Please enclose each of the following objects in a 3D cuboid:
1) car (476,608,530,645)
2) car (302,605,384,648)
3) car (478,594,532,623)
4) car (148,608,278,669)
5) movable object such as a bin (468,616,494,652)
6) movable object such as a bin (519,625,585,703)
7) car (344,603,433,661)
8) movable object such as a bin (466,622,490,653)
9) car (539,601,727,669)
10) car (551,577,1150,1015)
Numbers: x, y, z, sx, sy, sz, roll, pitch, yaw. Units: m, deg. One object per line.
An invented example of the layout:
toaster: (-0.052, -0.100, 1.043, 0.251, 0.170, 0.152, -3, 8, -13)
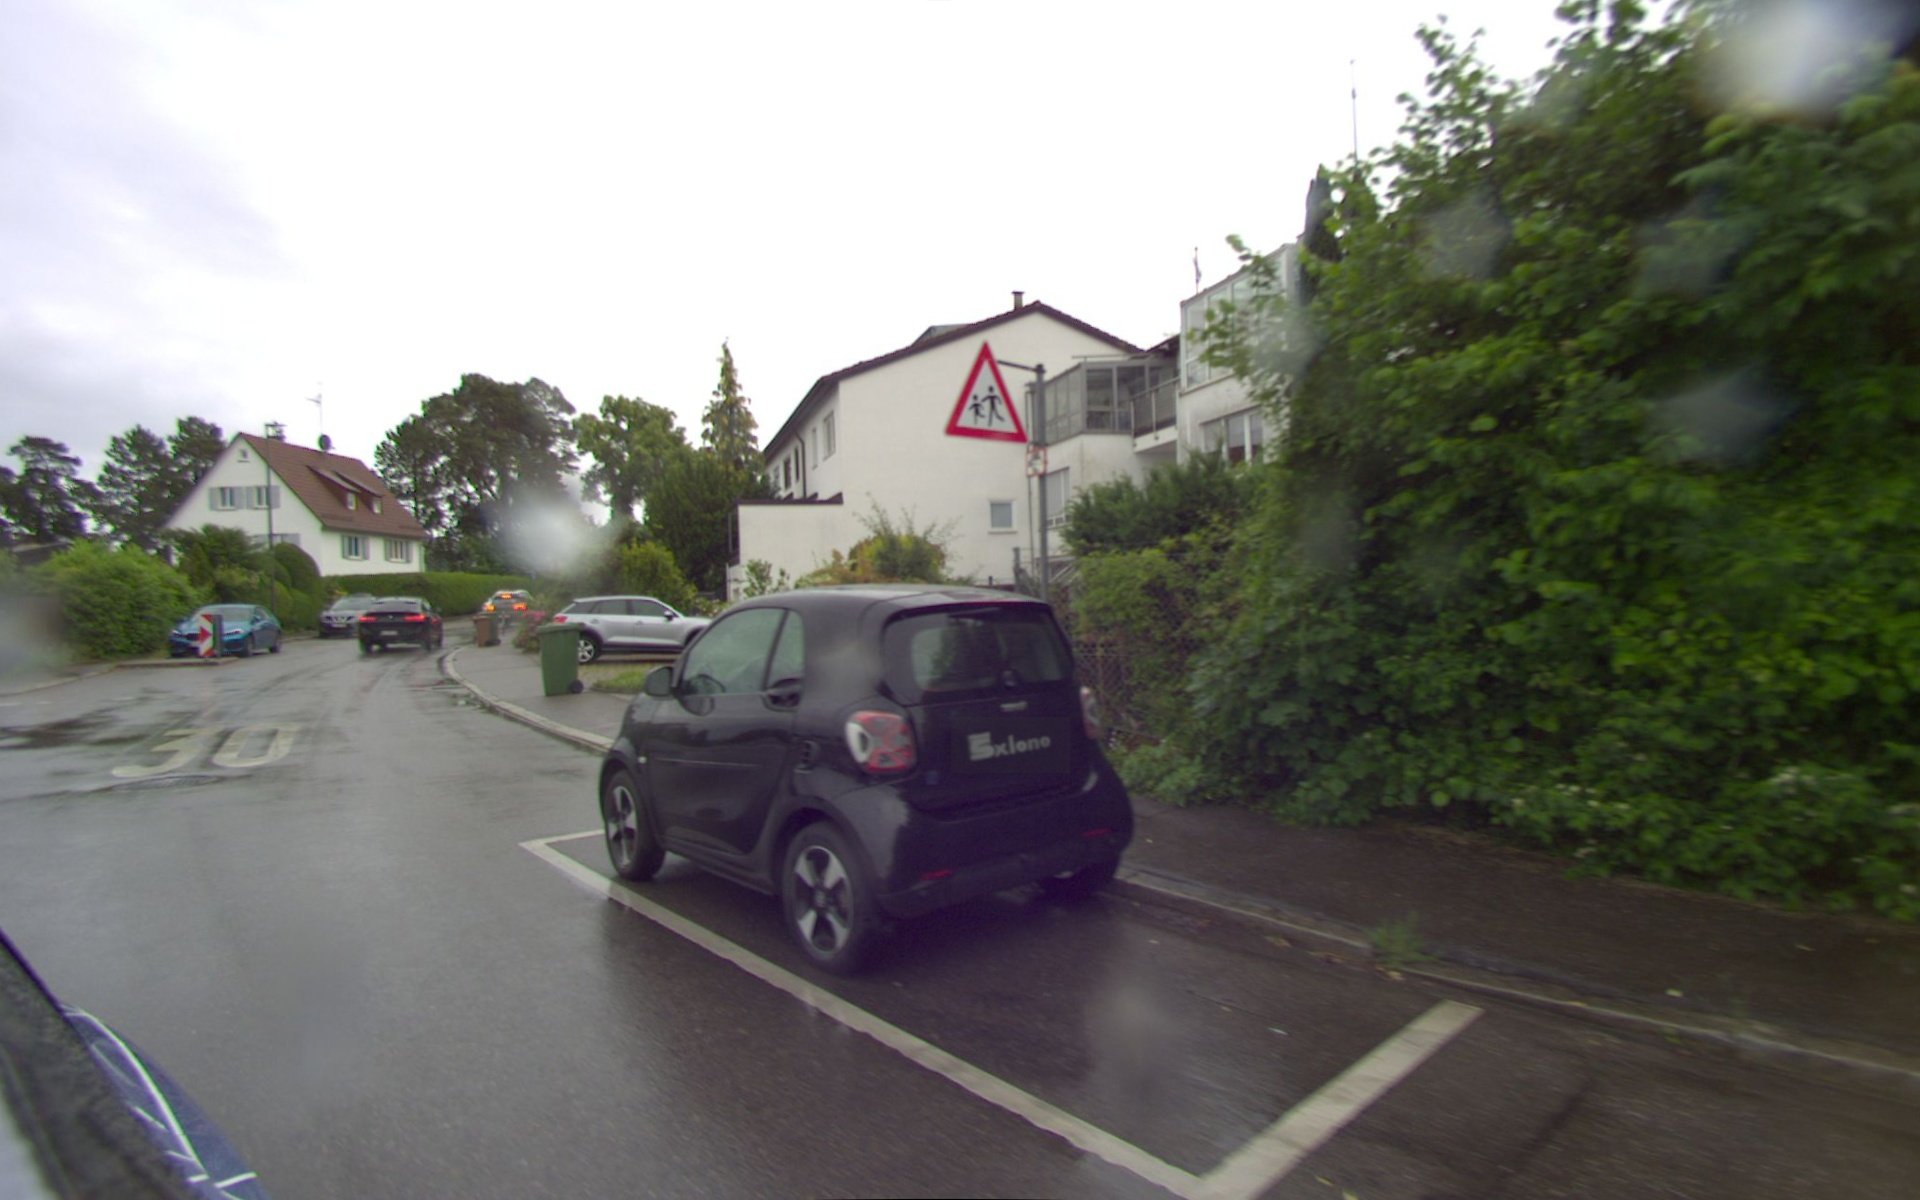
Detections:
car: (-22.107, 1.255, 49.135, 1.764, 1.606, 4.228, -2, 1, -16)
car: (-24.752, 1.011, 40.760, 1.875, 1.553, 4.229, -2, 1, -18)
car: (-27.614, 0.472, 61.512, 1.641, 1.651, 4.221, -2, 1, -5)
car: (-20.714, 1.007, 28.275, 1.770, 1.479, 4.229, -2, 1, -20)
movable object such as a bin: (-14.851, 1.056, 31.377, 0.682, 1.100, 0.422, 0, -1, -18)
movable object such as a bin: (-6.111, 0.936, 15.150, 0.834, 1.076, 0.624, -4, 0, -25)
car: (-17.445, 0.925, 31.070, 1.902, 1.617, 4.357, -1, 0, -23)
movable object such as a bin: (-14.721, 1.139, 30.919, 0.571, 0.946, 0.505, 0, -1, -18)
car: (-7.328, 0.755, 23.005, 3.933, 1.451, 1.773, 0, 1, -14)
car: (-0.720, 0.691, 5.152, 1.583, 1.523, 2.946, -1, 0, -43)
